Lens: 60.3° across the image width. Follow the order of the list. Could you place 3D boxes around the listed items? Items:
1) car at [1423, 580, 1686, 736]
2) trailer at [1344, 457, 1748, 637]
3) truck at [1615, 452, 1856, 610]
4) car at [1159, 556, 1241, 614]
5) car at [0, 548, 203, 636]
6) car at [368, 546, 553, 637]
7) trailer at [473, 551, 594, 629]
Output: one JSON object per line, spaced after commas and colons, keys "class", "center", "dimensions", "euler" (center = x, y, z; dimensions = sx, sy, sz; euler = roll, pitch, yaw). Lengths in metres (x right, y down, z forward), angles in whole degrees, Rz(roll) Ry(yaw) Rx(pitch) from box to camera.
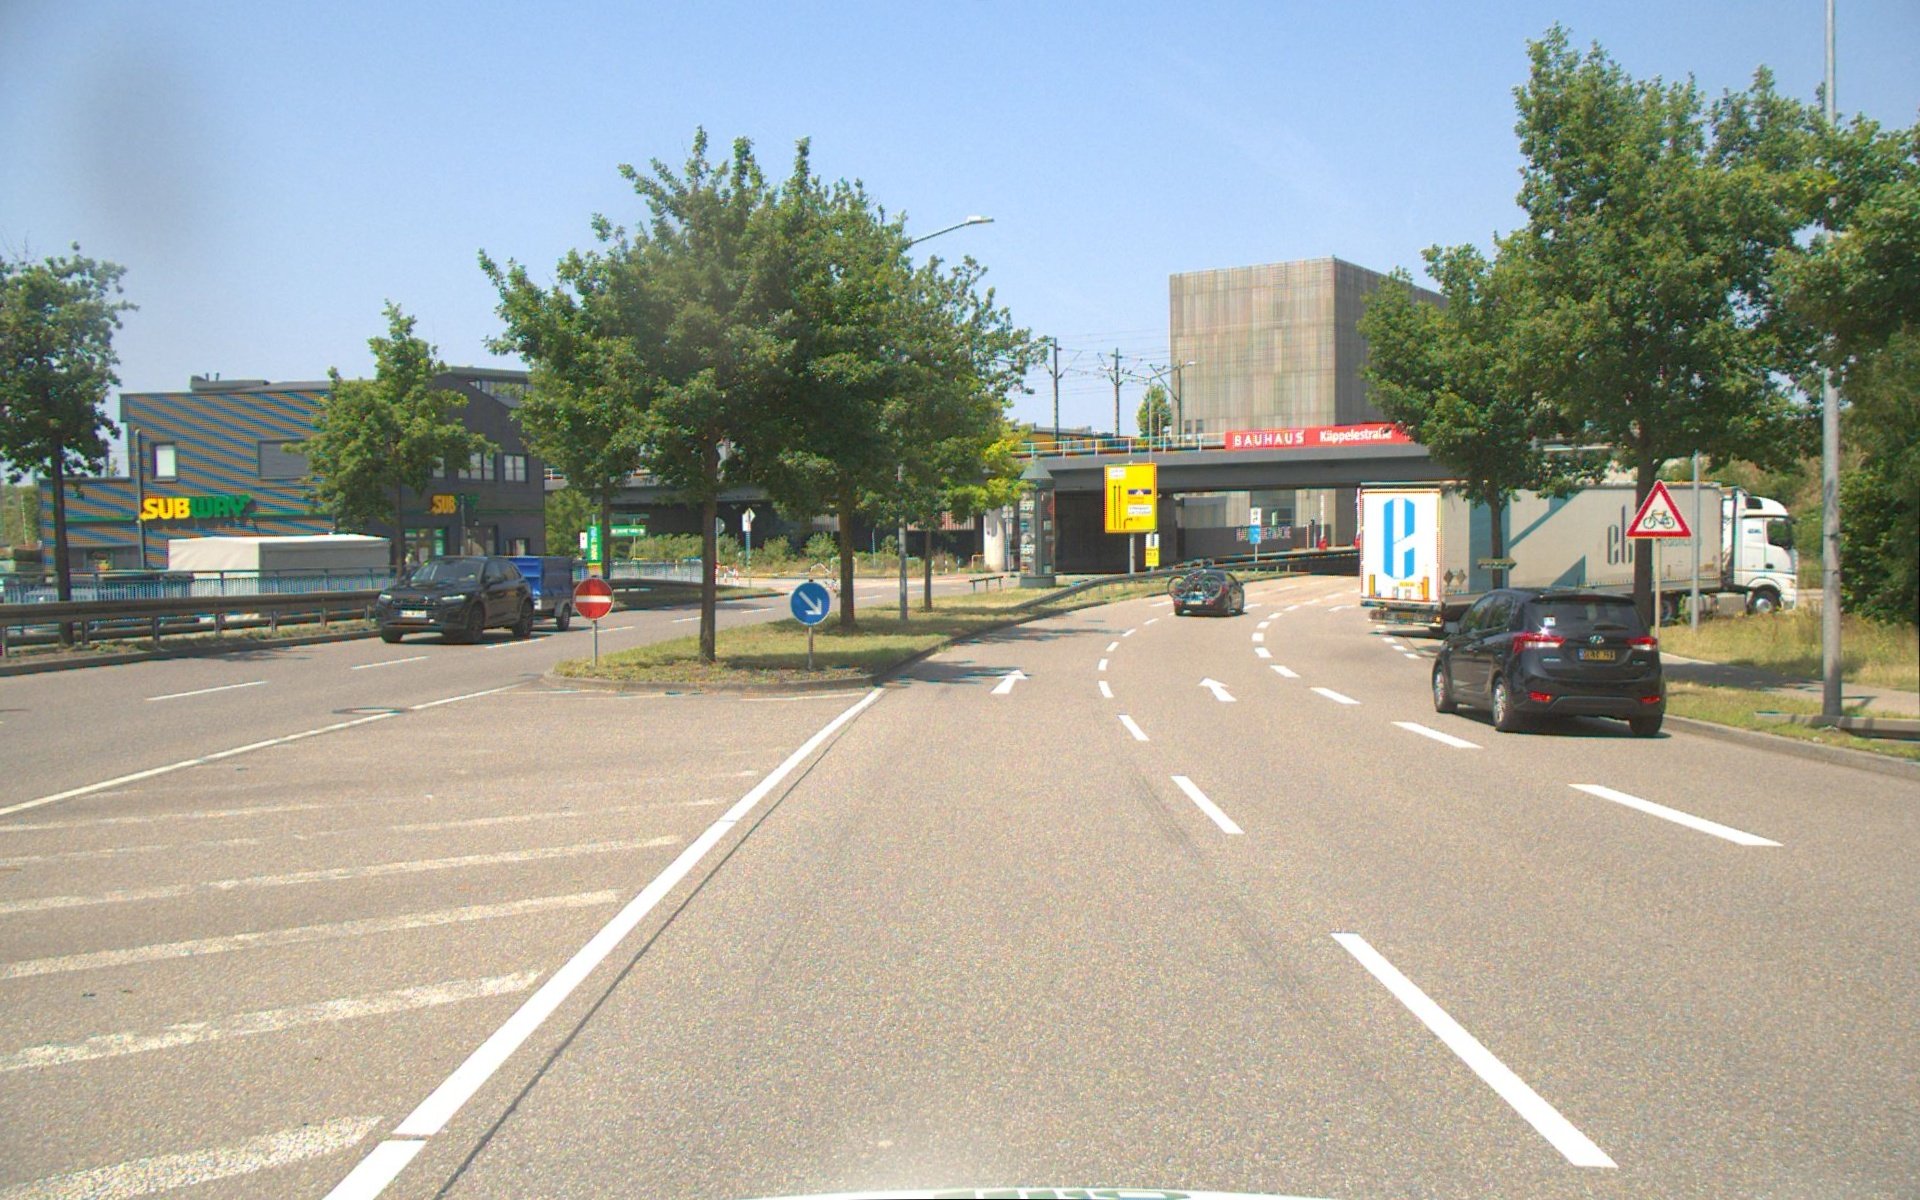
{"class": "car", "center": [6.827, 0.588, 19.436], "dimensions": [1.730, 1.627, 4.078], "euler": [0, 1, 2]}
{"class": "trailer", "center": [16.839, -1.632, 46.422], "dimensions": [14.617, 4.444, 3.048], "euler": [-3, 1, -37]}
{"class": "truck", "center": [23.530, -2.070, 50.271], "dimensions": [5.958, 4.444, 3.074], "euler": [-3, 1, -15]}
{"class": "car", "center": [7.669, -0.524, 52.510], "dimensions": [1.916, 1.661, 4.283], "euler": [1, 3, 18]}
{"class": "car", "center": [-17.406, -0.186, 33.086], "dimensions": [1.857, 1.596, 4.644], "euler": [-2, 1, 8]}
{"class": "car", "center": [-9.912, -0.190, 33.212], "dimensions": [1.874, 1.681, 4.411], "euler": [1, 1, 7]}
{"class": "trailer", "center": [-9.502, -0.237, 37.053], "dimensions": [1.473, 1.643, 3.311], "euler": [1, 1, 7]}
